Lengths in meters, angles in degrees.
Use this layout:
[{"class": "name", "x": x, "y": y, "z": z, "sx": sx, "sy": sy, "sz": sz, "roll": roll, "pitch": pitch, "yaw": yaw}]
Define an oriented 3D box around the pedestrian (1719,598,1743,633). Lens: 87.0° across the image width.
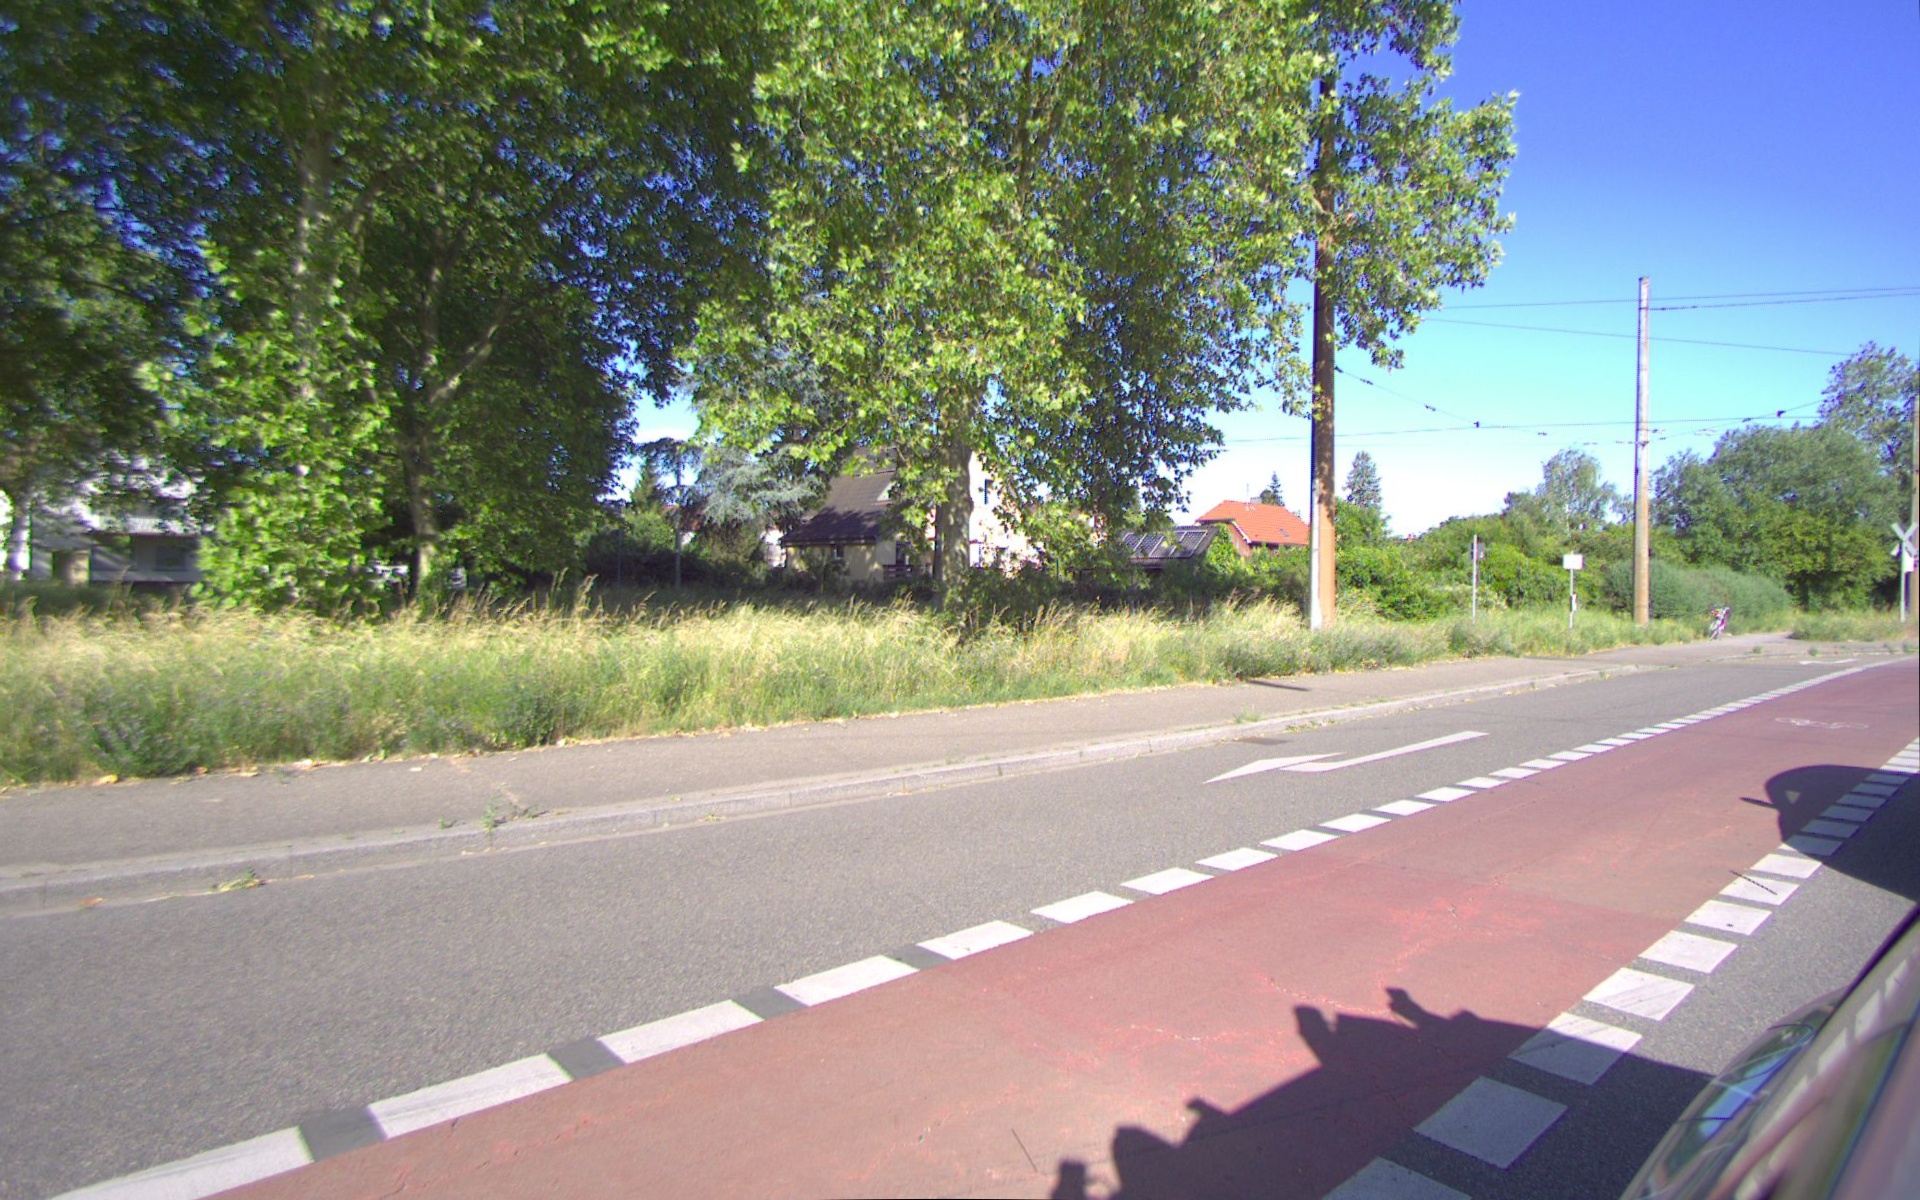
[{"class": "pedestrian", "x": 23.671, "y": 0.476, "z": 31.067, "sx": 0.446, "sy": 1.046, "sz": 0.482, "roll": 1, "pitch": 1, "yaw": -41}]
